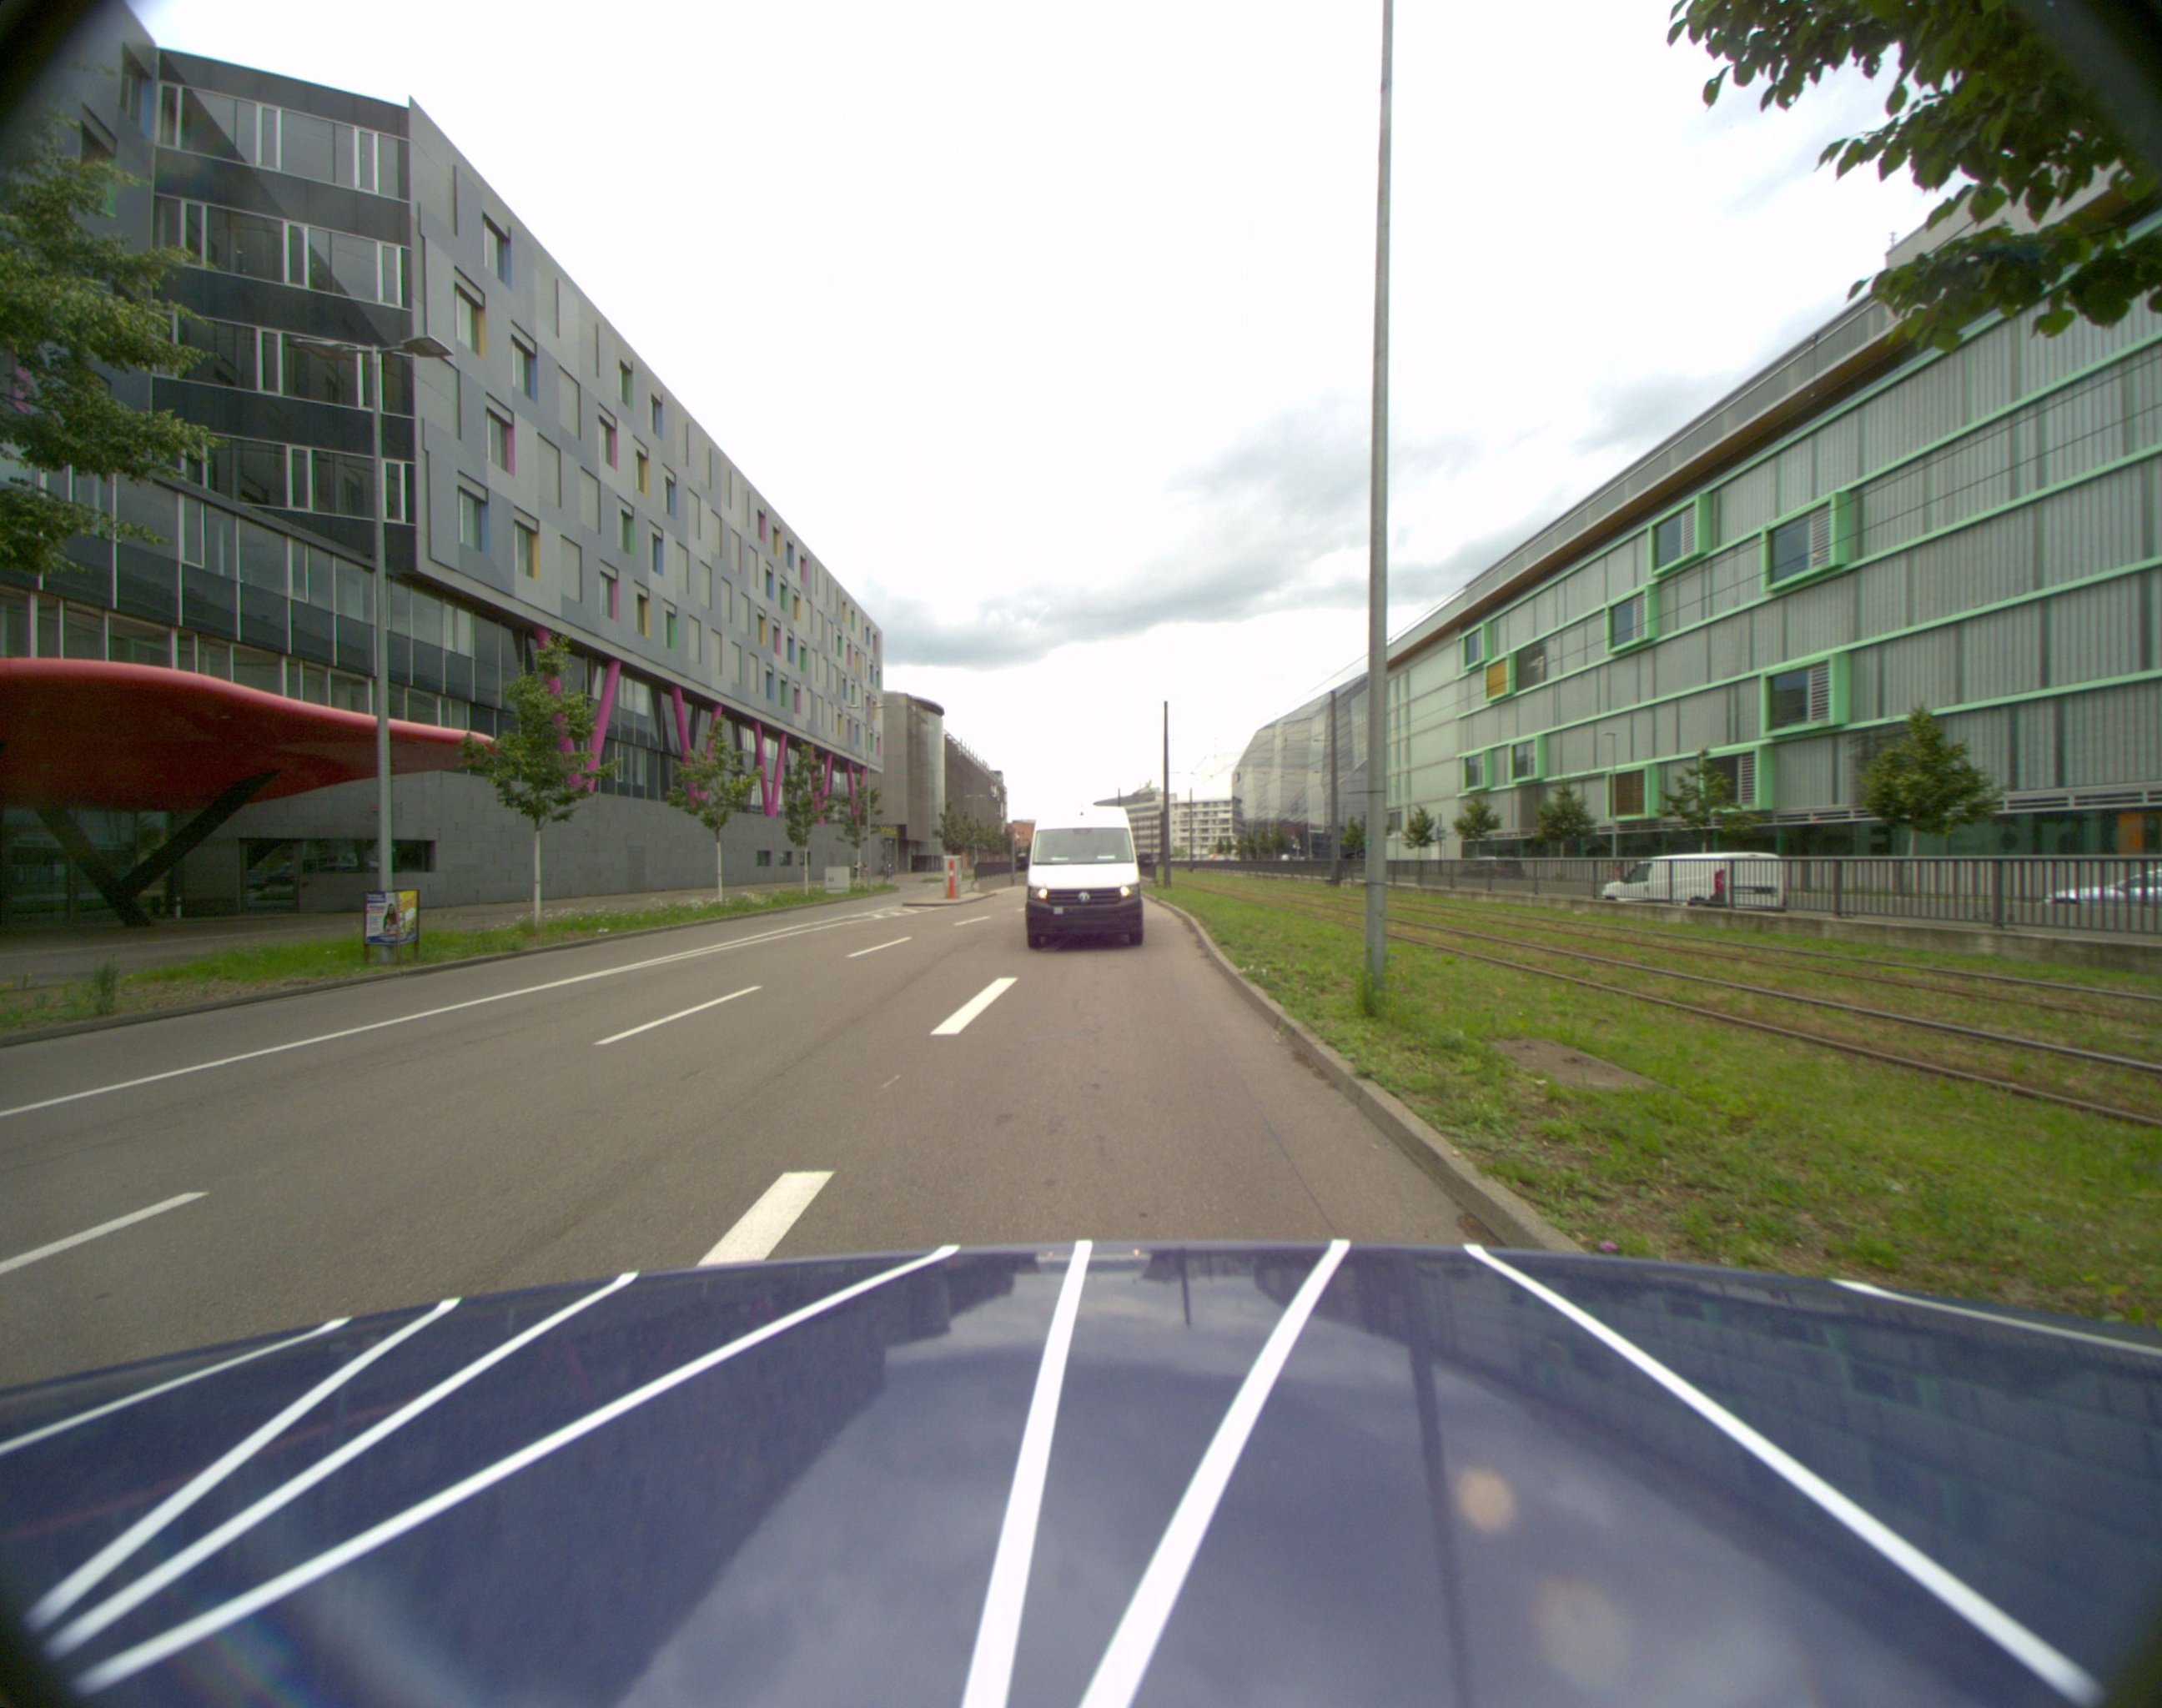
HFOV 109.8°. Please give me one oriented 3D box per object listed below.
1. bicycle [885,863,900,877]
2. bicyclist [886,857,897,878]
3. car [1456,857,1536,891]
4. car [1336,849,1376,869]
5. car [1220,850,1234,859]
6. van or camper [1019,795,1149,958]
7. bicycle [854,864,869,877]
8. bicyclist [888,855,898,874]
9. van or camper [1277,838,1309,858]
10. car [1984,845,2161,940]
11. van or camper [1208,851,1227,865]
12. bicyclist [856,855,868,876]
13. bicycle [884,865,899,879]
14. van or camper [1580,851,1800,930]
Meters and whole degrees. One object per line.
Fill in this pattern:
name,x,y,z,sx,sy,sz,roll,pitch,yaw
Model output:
bicycle,-17.734,1.540,71.569,0.801,1.150,2.346,-2,-4,0
bicyclist,-16.819,1.192,67.401,0.784,1.792,0.705,-2,0,0
car,24.095,1.103,44.369,1.998,1.813,4.968,-1,0,1
car,24.718,0.419,68.545,1.998,1.656,4.647,0,0,1
car,27.504,0.124,143.068,1.998,1.583,4.769,-1,-2,3
van or camper,0.049,0.359,14.663,2.043,2.572,5.041,-1,0,0
bicycle,-19.614,1.460,68.010,0.785,1.187,2.220,-1,0,-3
bicyclist,-17.744,1.004,71.753,0.784,1.790,0.705,-2,-4,0
van or camper,24.232,-0.666,87.079,2.178,2.273,5.359,-1,0,1
car,23.865,0.814,16.617,1.998,2.002,5.295,-1,0,1
van or camper,23.941,0.687,133.418,2.178,2.273,6.507,-2,0,1
bicyclist,-19.618,1.026,68.030,0.772,1.776,0.974,-1,0,-3
bicycle,-16.811,1.603,67.459,0.801,1.151,2.345,-2,-1,0
van or camper,16.389,0.877,20.913,1.894,1.889,5.124,0,0,-1
